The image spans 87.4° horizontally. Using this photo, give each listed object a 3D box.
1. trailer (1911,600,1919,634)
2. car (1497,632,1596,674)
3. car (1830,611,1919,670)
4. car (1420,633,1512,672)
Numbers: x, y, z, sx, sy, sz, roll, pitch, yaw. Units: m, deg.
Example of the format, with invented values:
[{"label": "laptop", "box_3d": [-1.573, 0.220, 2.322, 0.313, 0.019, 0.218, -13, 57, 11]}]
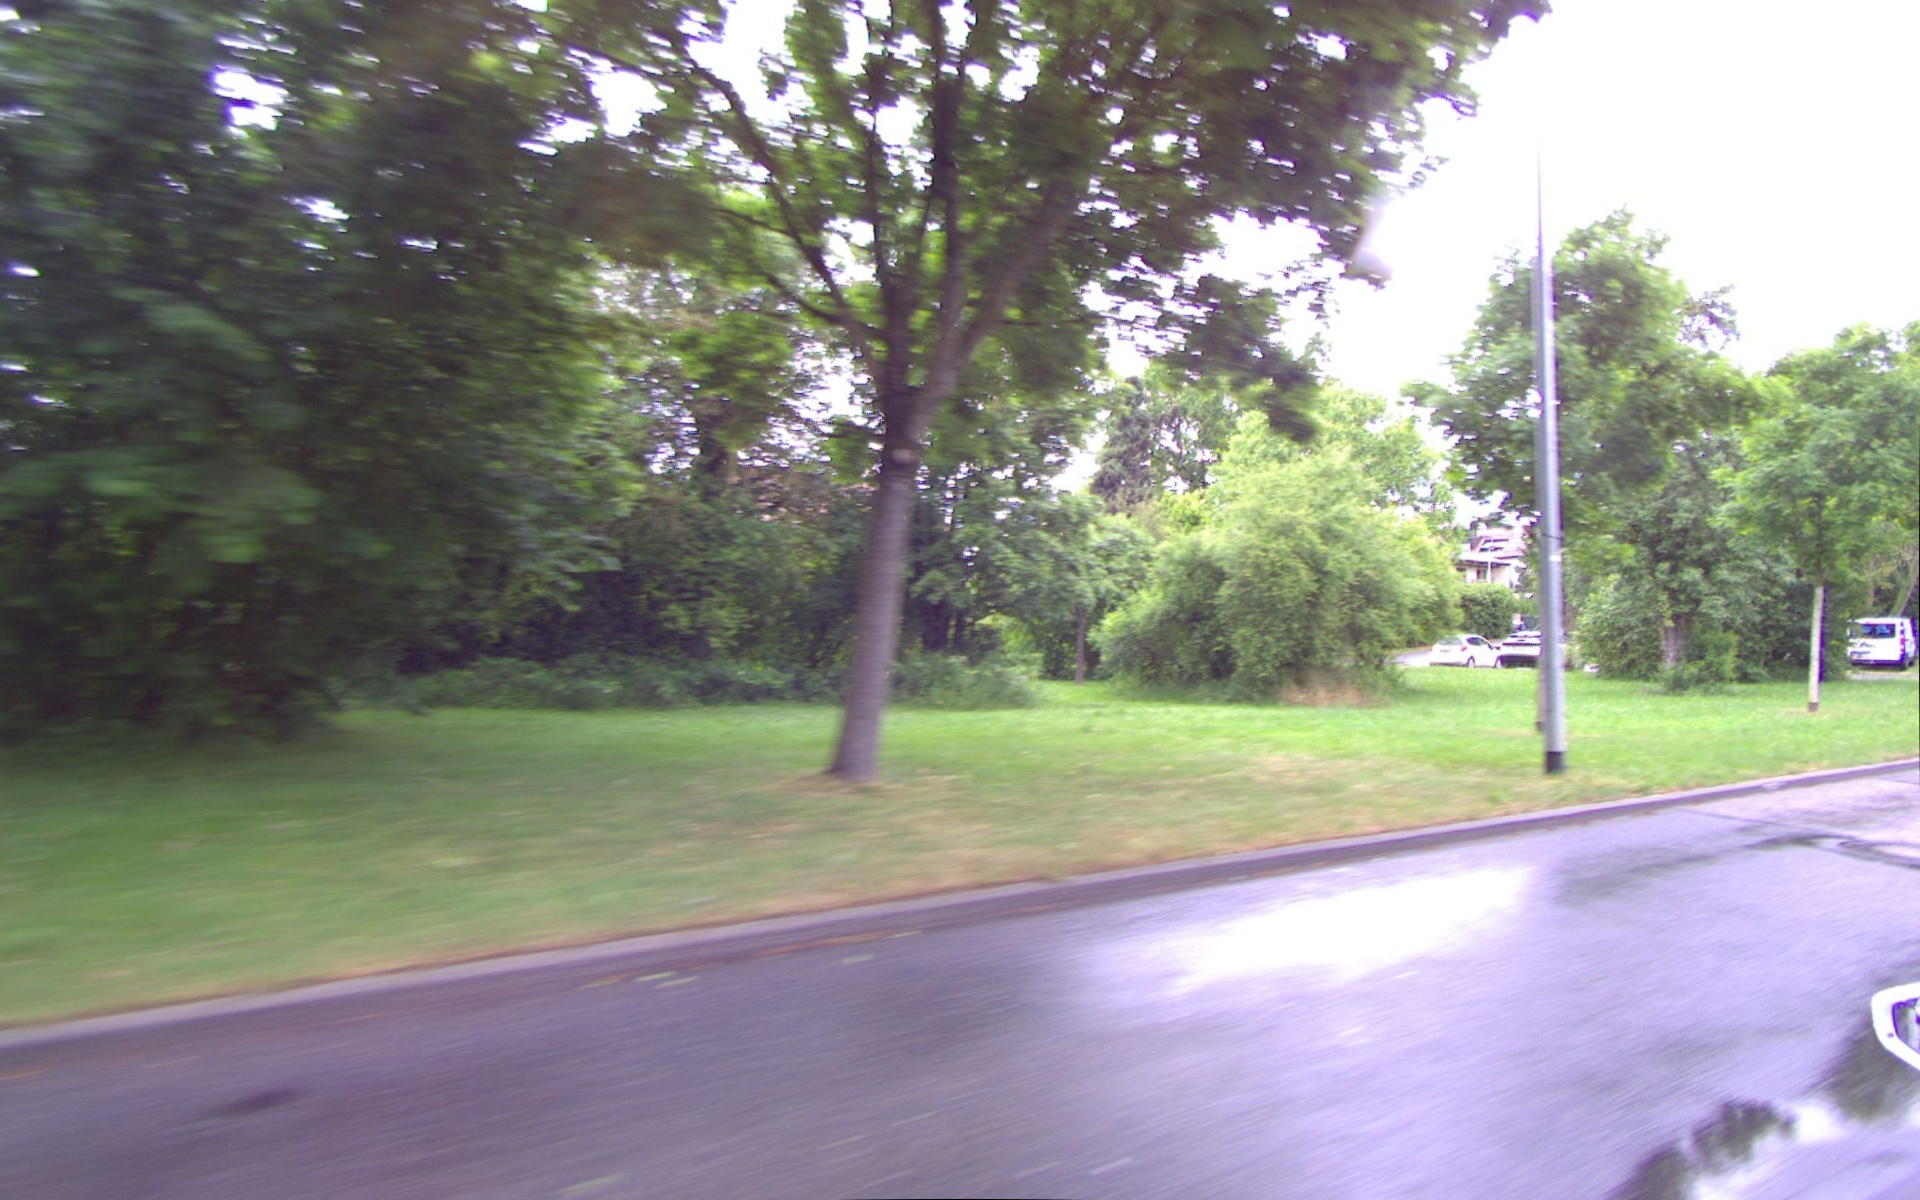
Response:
[{"label": "trailer", "box_3d": [81.453, 1.338, 83.423, 1.965, 2.844, 5.598, -6, -3, 29]}, {"label": "car", "box_3d": [23.531, 2.140, 40.212, 4.960, 1.557, 1.776, 3, -3, -38]}, {"label": "car", "box_3d": [36.789, 1.595, 40.289, 5.431, 2.012, 2.109, -2, -1, -42]}, {"label": "car", "box_3d": [21.765, 2.231, 43.134, 4.312, 1.601, 1.840, 2, -2, -37]}]
